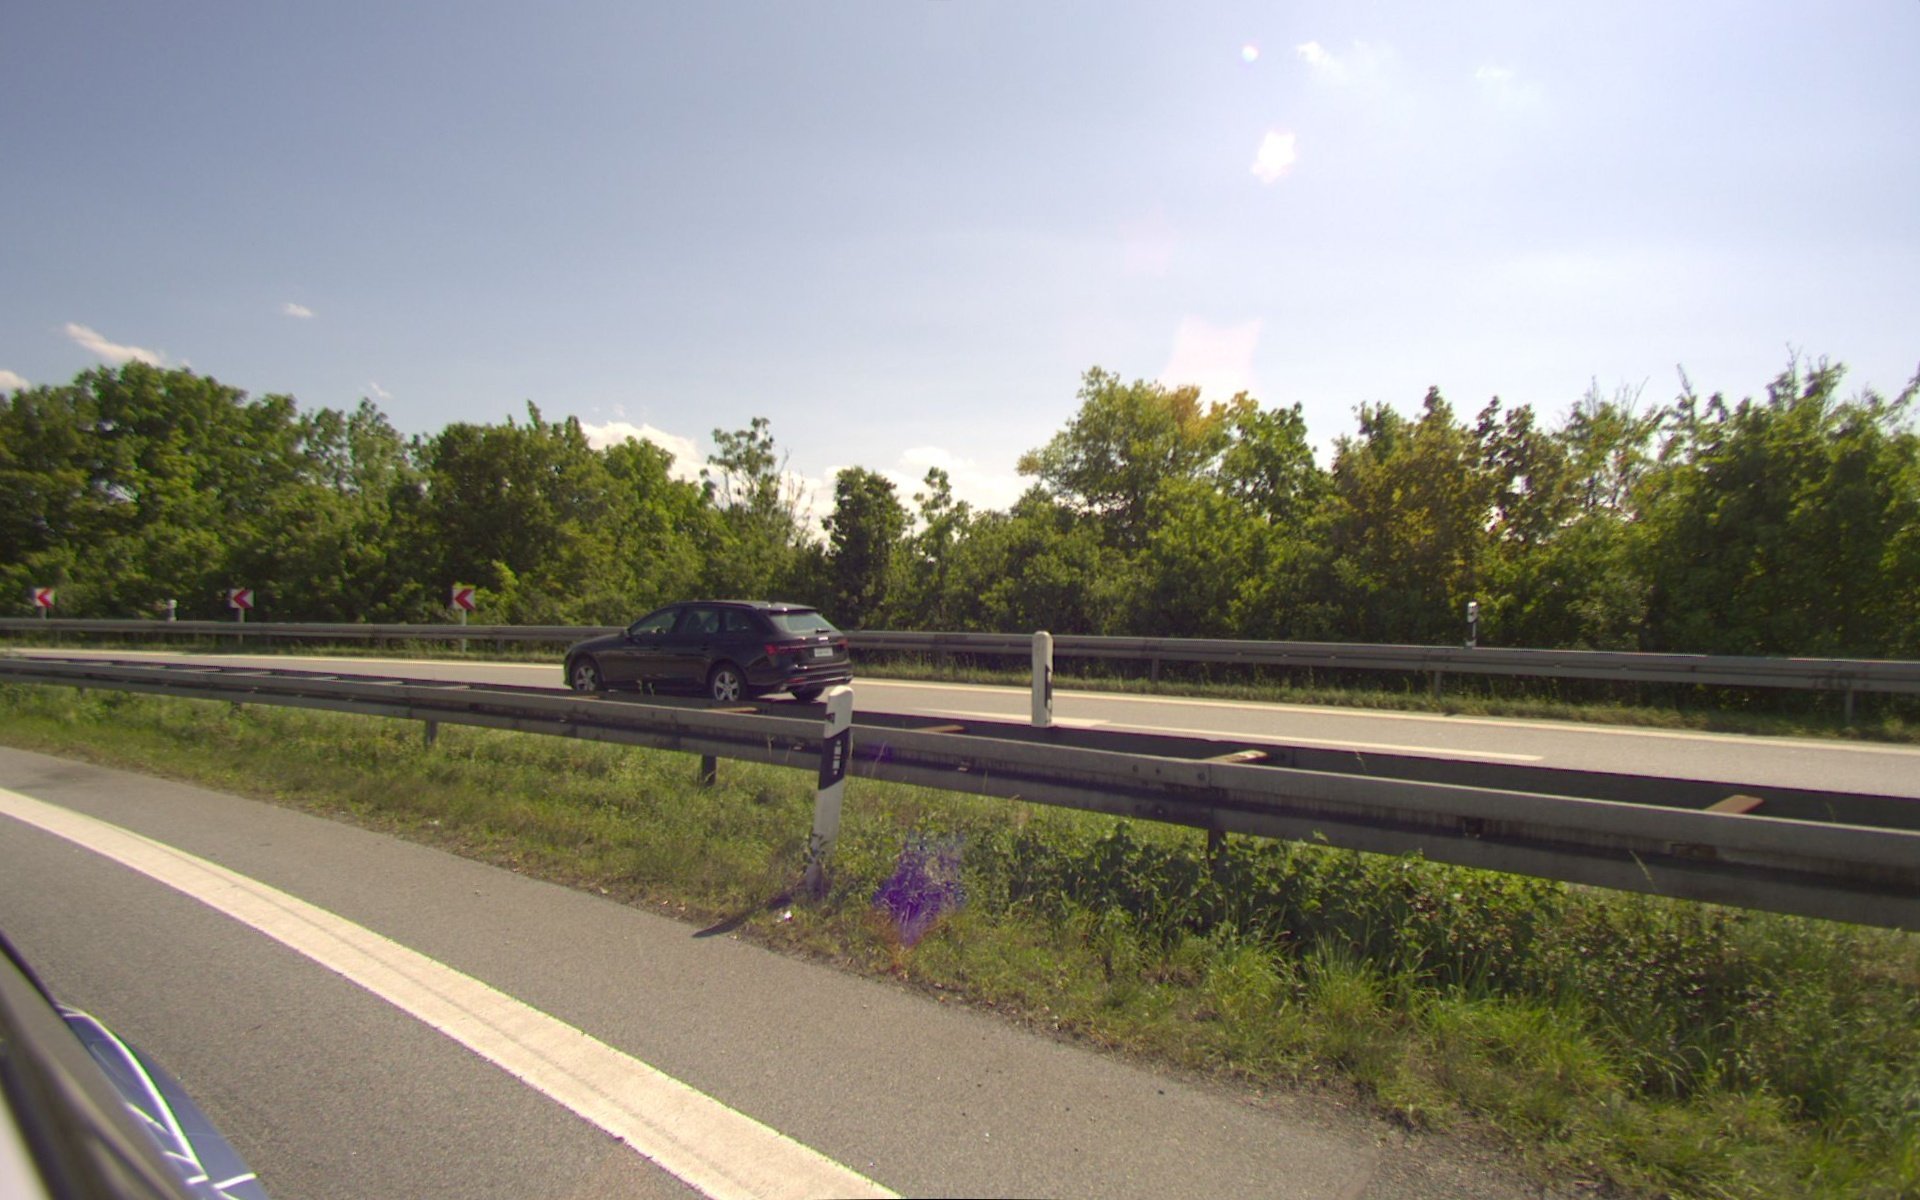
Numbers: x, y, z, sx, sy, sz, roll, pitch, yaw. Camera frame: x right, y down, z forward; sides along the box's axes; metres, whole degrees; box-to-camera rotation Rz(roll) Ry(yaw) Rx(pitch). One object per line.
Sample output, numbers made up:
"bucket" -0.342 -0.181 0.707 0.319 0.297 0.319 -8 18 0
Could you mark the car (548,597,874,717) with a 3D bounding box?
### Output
"car" -3.634 0.723 14.431 4.687 1.459 1.780 -1 0 32
